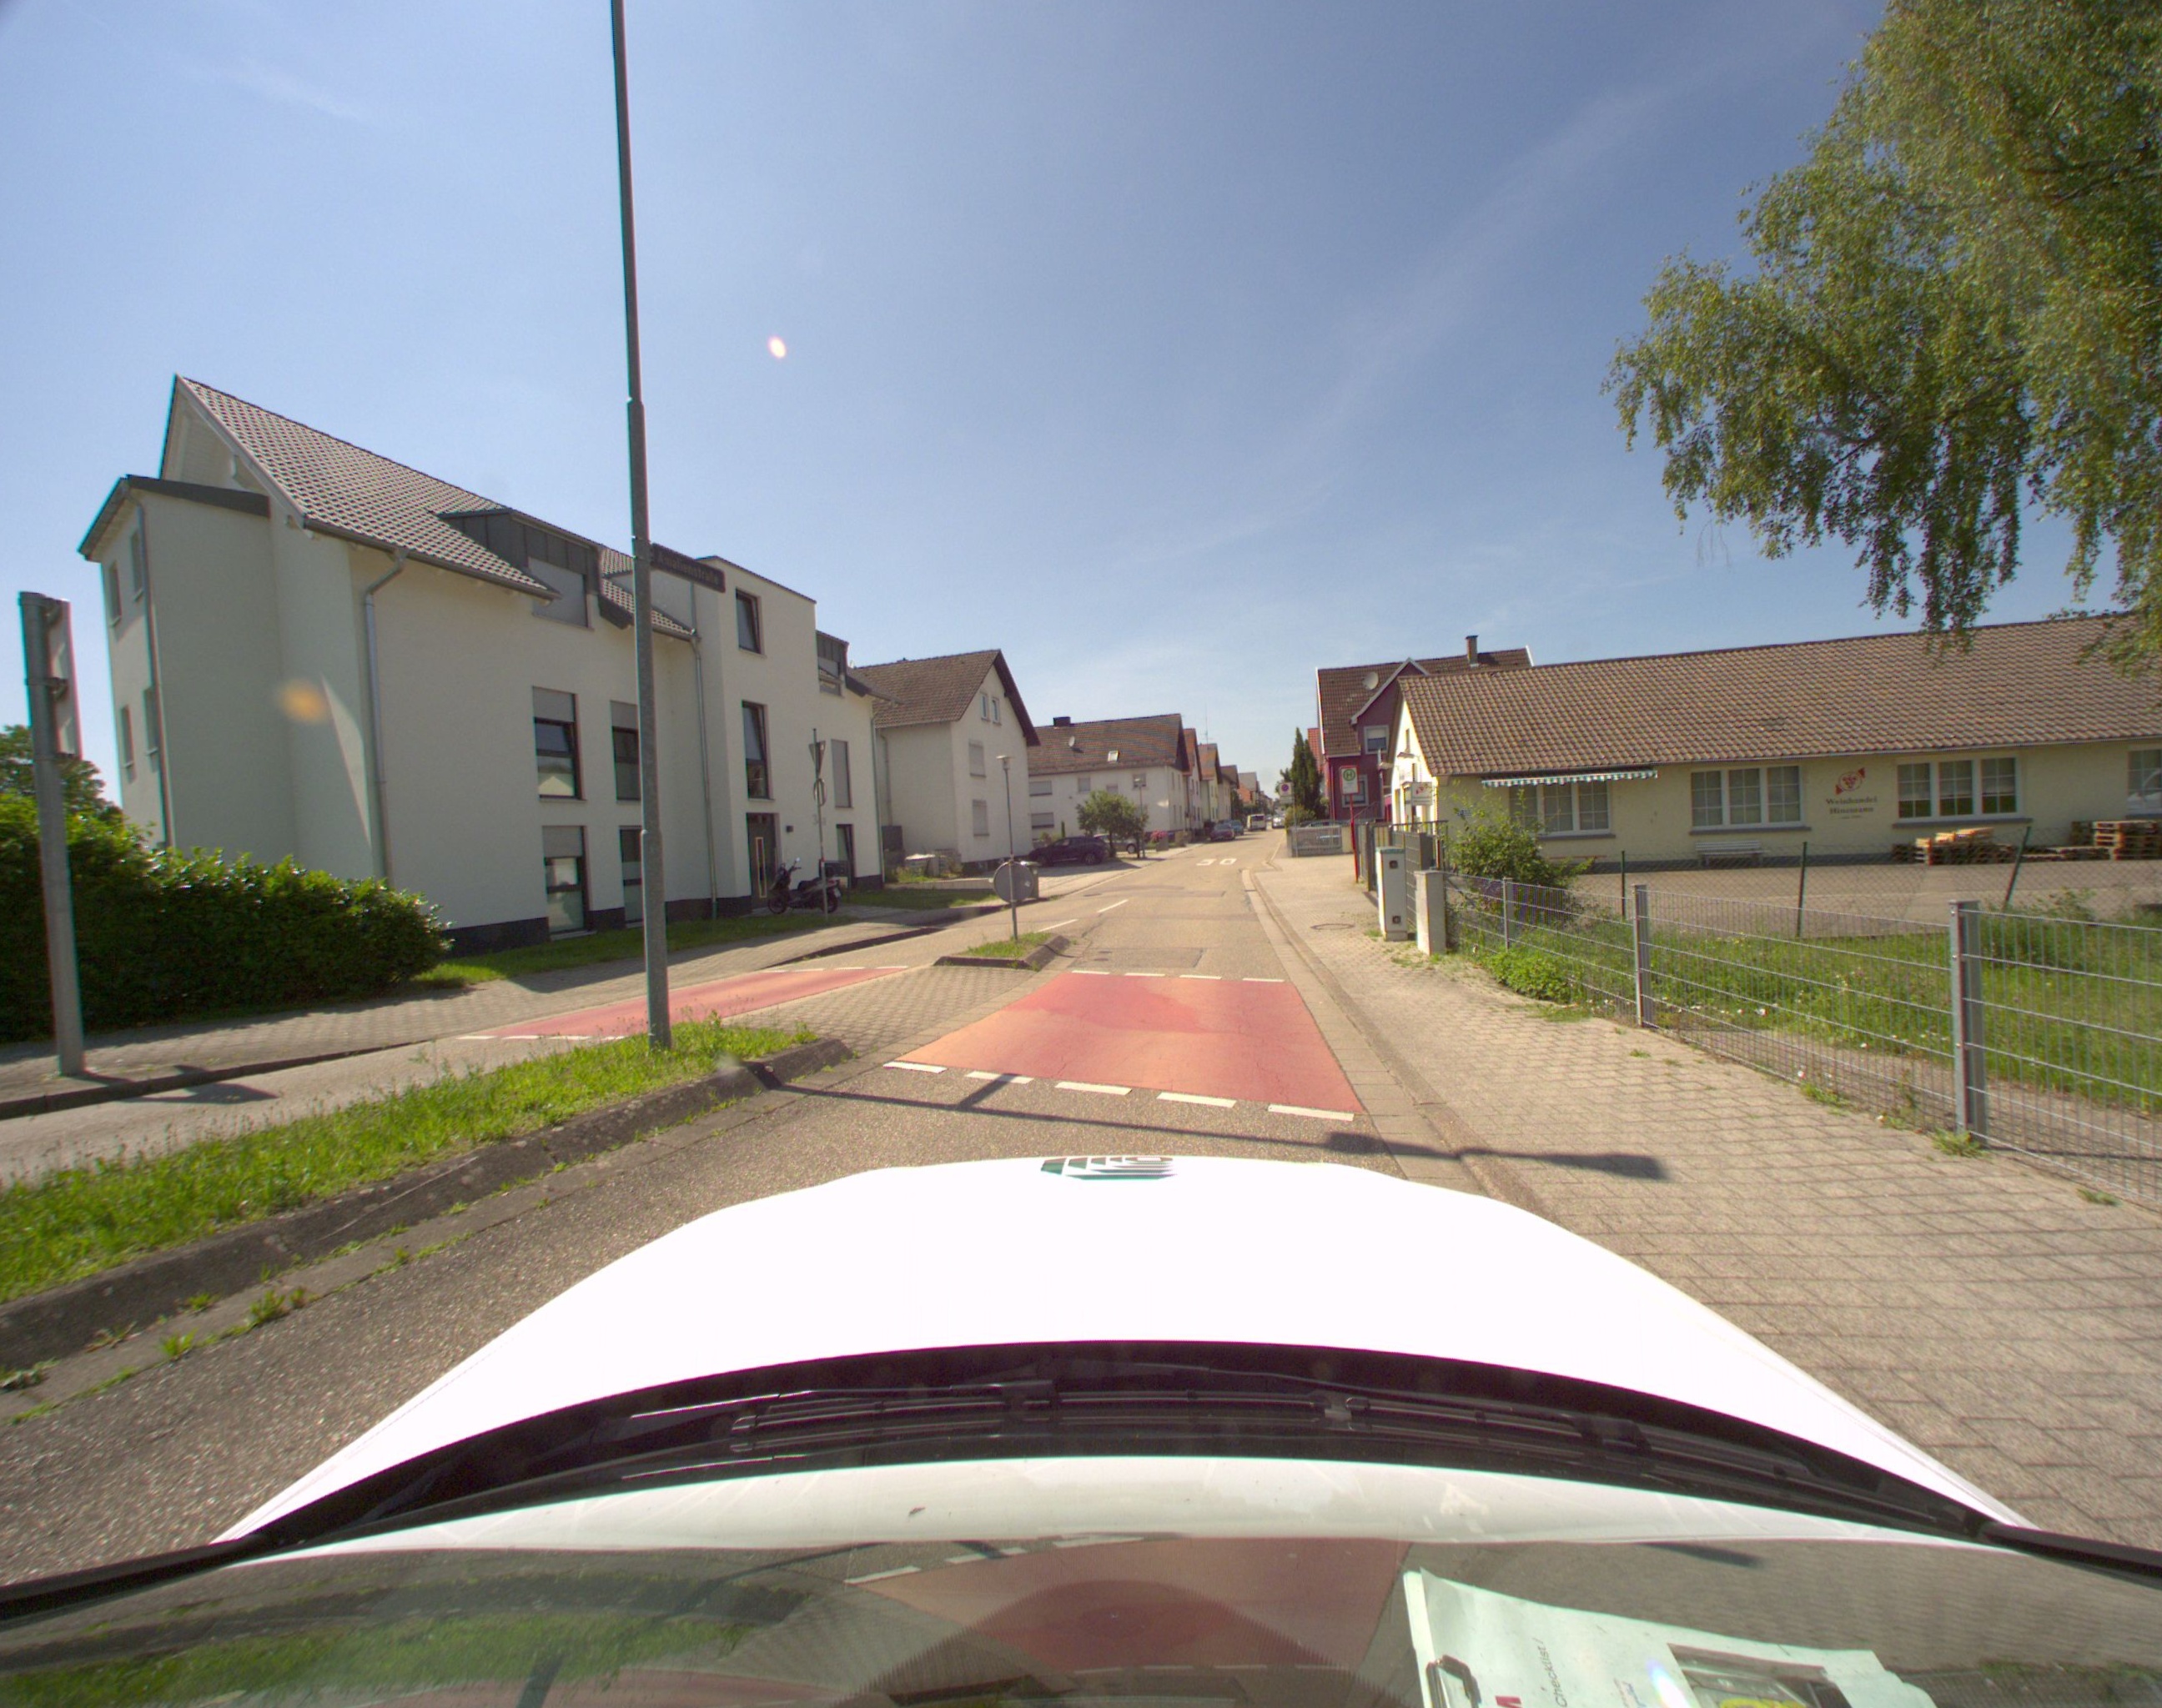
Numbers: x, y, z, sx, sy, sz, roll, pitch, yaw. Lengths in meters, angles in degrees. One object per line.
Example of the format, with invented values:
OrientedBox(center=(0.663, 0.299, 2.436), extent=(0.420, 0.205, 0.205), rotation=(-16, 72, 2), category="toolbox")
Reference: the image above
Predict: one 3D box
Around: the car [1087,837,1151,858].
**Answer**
OrientedBox(center=(2.576, -0.431, 54.816), extent=(3.960, 1.190, 1.847), rotation=(-3, 1, 12), category="car")

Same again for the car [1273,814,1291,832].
OrientedBox(center=(25.285, -3.857, 102.351), extent=(1.937, 2.072, 4.016), rotation=(-3, 0, 14), category="car")

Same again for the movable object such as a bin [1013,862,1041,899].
OrientedBox(center=(-1.621, 0.797, 24.443), extent=(0.639, 1.083, 0.461), rotation=(-2, 1, 22), category="movable object such as a bin")

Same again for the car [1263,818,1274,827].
OrientedBox(center=(40.668, -6.852, 176.985), extent=(1.938, 1.813, 4.018), rotation=(-2, 0, 17), category="car")

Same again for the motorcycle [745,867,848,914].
OrientedBox(center=(-6.821, 0.871, 19.505), extent=(2.342, 1.013, 0.675), rotation=(-3, -1, 18), category="motorcycle")

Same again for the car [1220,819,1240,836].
OrientedBox(center=(15.347, -2.710, 84.024), extent=(1.913, 1.604, 4.011), rotation=(-3, 1, 9), category="car")

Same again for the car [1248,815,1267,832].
OrientedBox(center=(20.465, -3.553, 94.362), extent=(1.838, 1.787, 4.016), rotation=(-3, 0, 15), category="car")

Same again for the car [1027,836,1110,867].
OrientedBox(center=(-0.637, -0.126, 42.194), extent=(3.960, 1.383, 1.666), rotation=(-3, 1, 12), category="car")

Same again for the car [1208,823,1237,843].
OrientedBox(center=(12.128, -1.818, 69.744), extent=(1.978, 1.553, 4.017), rotation=(-3, 1, 15), category="car")

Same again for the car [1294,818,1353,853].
OrientedBox(center=(12.209, -0.926, 41.075), extent=(2.724, 1.597, 1.176), rotation=(-3, 0, 14), category="car")
